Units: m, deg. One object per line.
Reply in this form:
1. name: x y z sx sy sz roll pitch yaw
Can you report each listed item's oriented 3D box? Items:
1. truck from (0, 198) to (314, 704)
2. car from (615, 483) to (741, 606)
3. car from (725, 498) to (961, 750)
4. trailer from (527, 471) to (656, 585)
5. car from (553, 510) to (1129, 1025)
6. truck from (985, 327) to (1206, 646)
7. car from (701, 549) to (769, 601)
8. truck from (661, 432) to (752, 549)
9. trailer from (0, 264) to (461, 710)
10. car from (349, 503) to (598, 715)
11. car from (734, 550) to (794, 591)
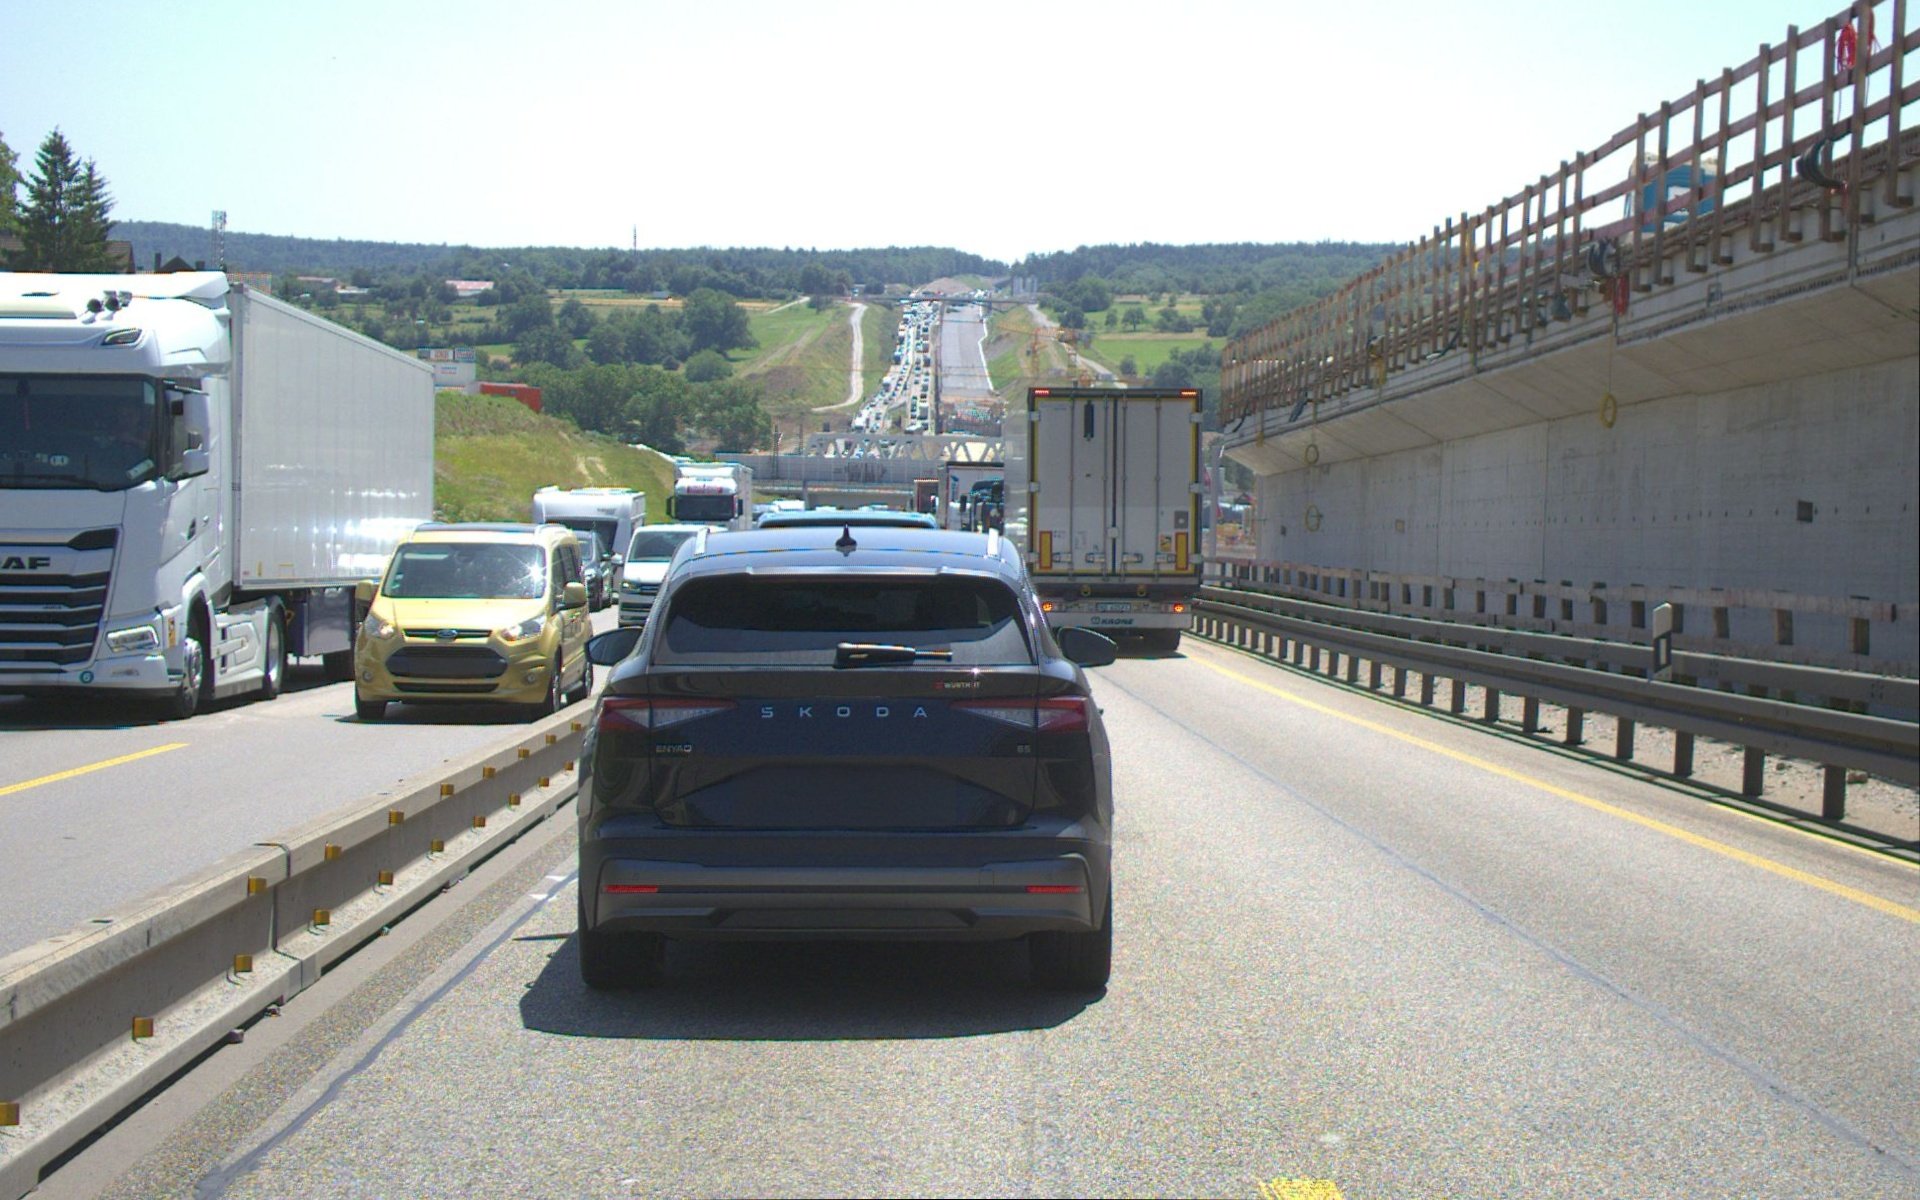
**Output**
1. truck: -8.273 -1.274 32.147 3.180 4.223 6.485 1 0 0
2. car: -4.871 -0.932 59.928 1.862 2.007 4.805 1 0 -1
3. car: -1.040 0.172 29.032 1.749 1.889 3.756 3 0 -4
4. trailer: -8.751 -1.667 82.142 2.484 2.604 5.867 0 0 0
5. car: -0.452 0.510 12.718 1.782 1.592 3.755 1 1 -2
6. truck: 2.044 -1.667 56.507 2.846 4.599 11.811 2 0 -1
7. car: -6.352 -0.686 97.333 1.702 1.436 4.000 0 0 0
8. truck: -10.107 -4.329 137.808 2.753 4.213 8.099 5 0 0
9. trailer: -8.290 -1.168 38.963 3.220 4.144 13.408 1 1 0
10. car: -4.475 0.046 32.219 1.775 1.814 4.434 1 1 -1
11. car: -6.568 -0.991 115.500 1.771 1.284 4.000 2 0 0
